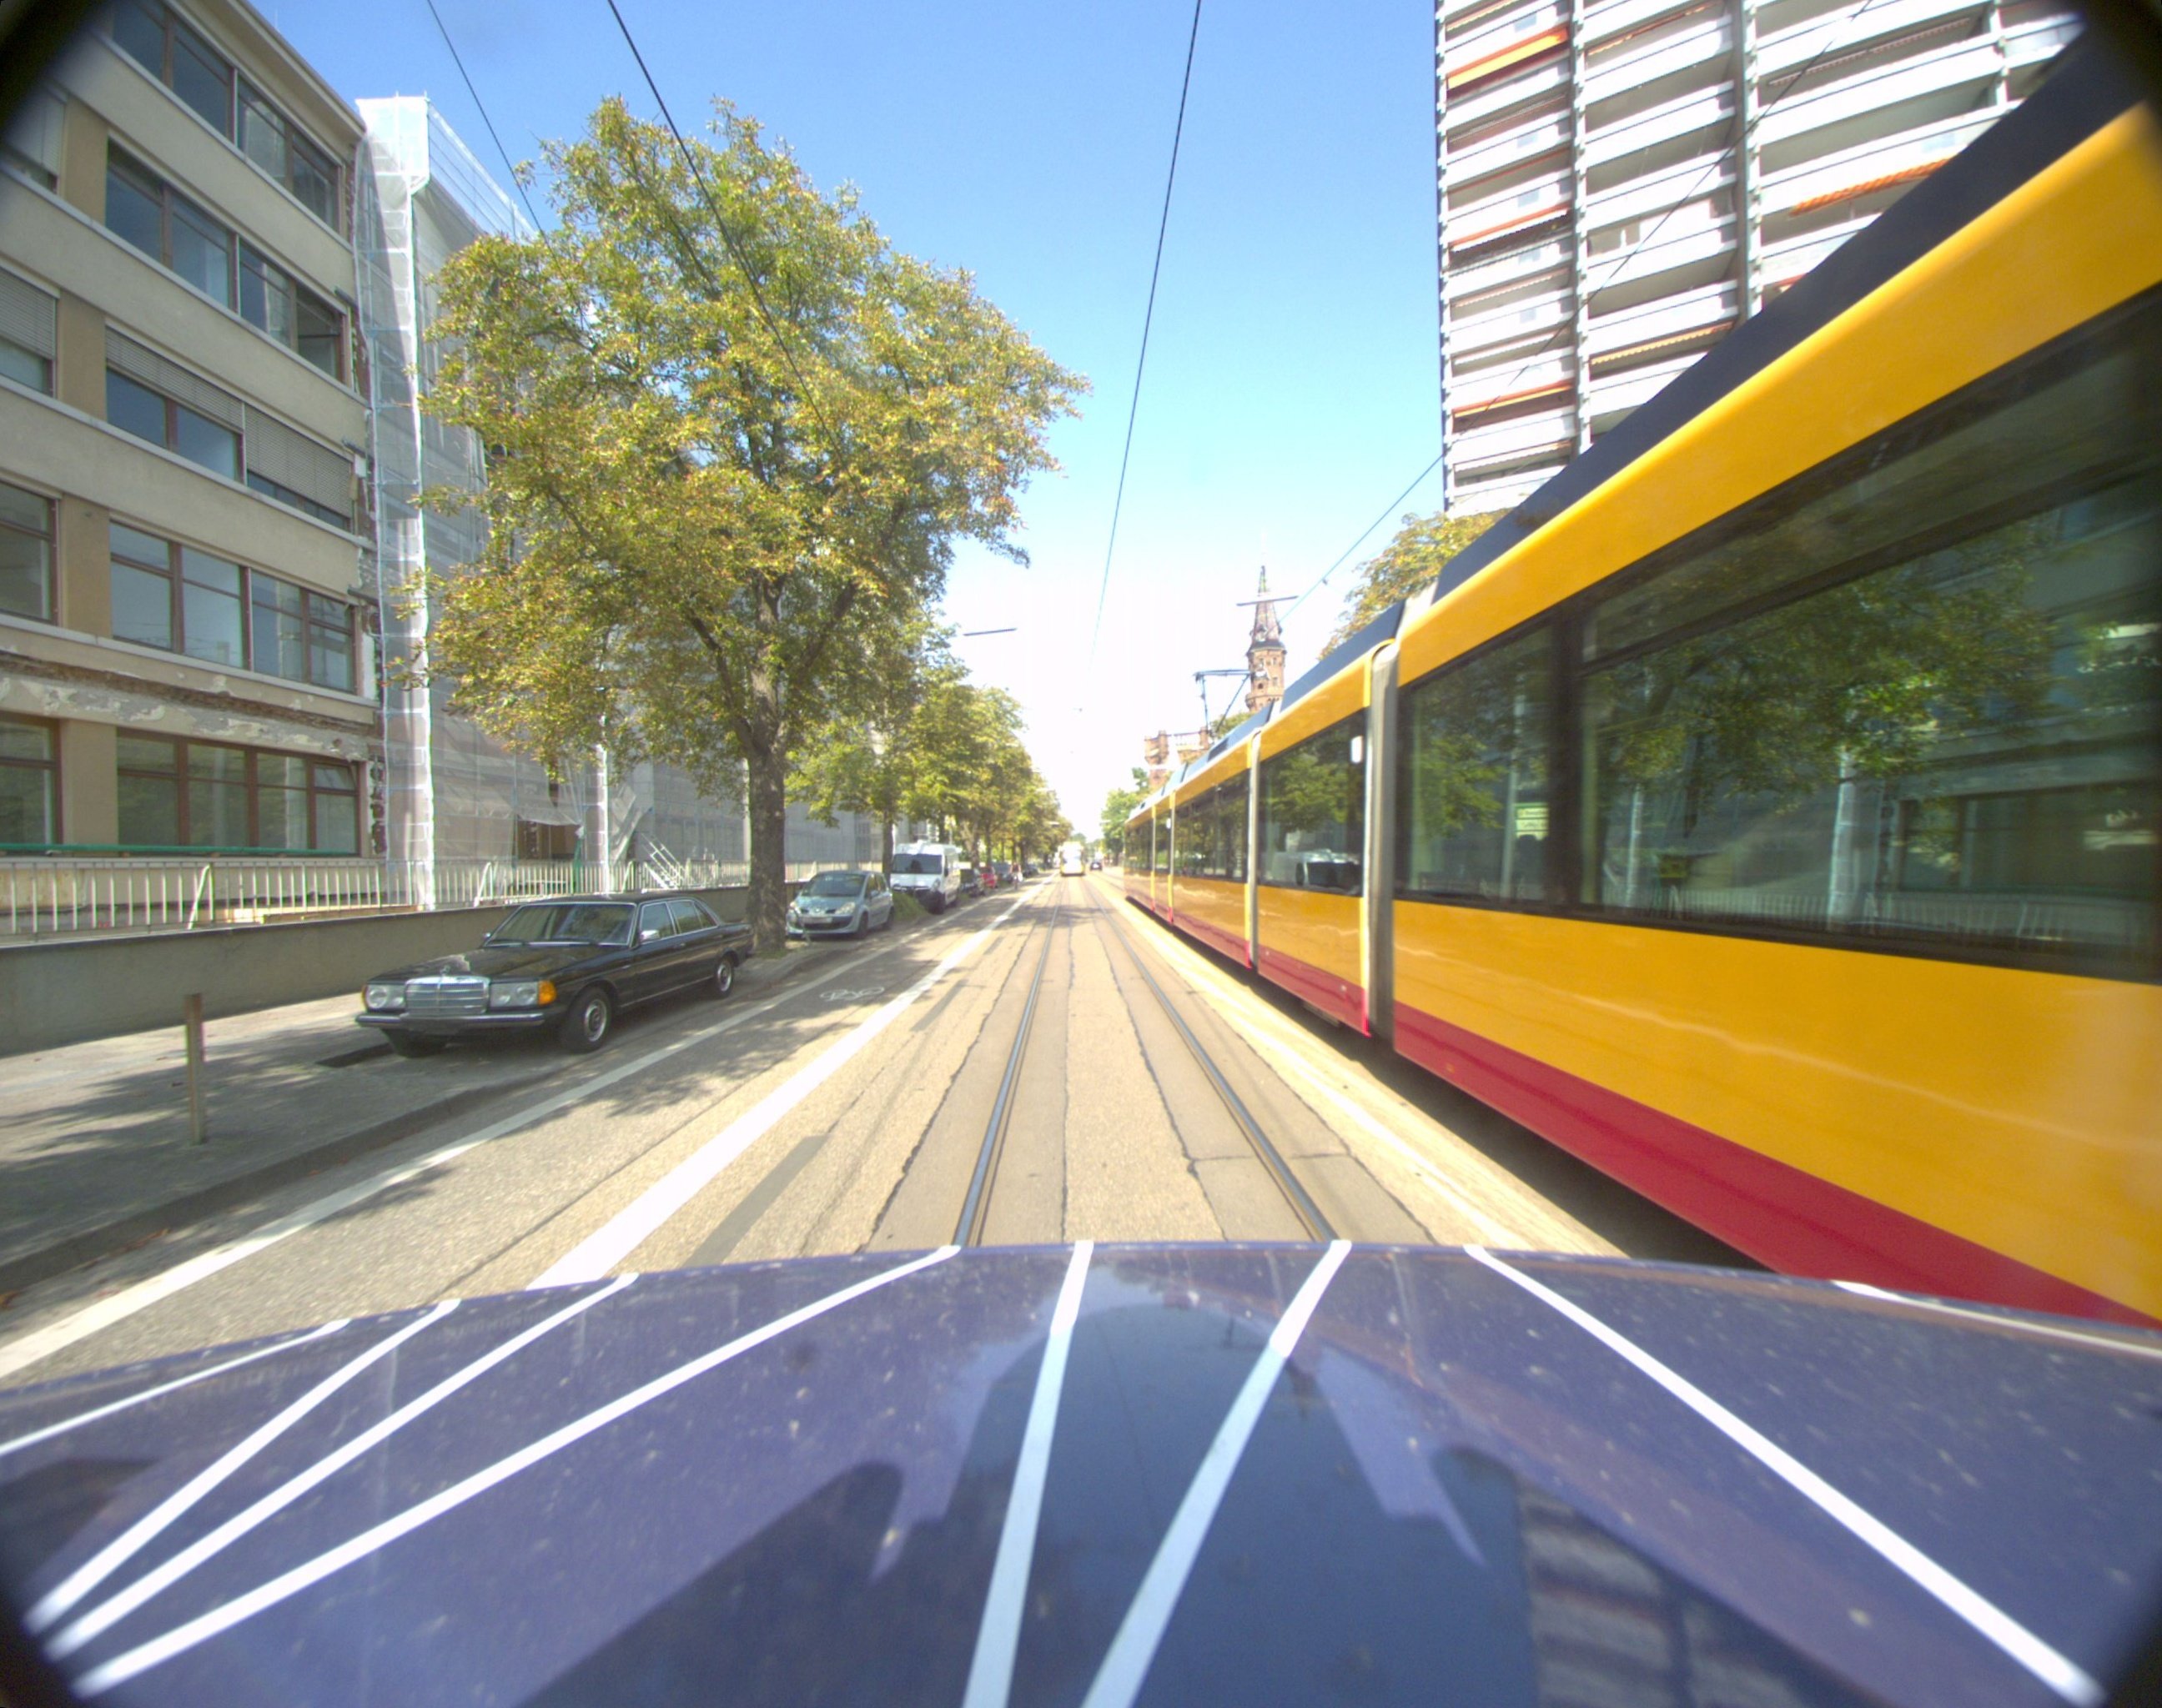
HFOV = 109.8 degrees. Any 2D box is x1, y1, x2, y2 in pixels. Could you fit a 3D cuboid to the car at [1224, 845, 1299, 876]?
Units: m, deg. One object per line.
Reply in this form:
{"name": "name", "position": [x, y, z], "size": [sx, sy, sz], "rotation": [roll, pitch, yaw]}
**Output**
{"name": "car", "position": [10.435, 0.365, 43.905], "size": [4.005, 1.470, 1.785], "rotation": [-4, 0, -30]}

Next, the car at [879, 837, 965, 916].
{"name": "car", "position": [-5.641, 0.763, 27.764], "size": [2.088, 2.537, 5.500], "rotation": [2, 0, -2]}

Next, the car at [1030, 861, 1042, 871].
{"name": "car", "position": [-6.631, 1.732, 112.480], "size": [1.644, 1.421, 3.988], "rotation": [-1, 0, -2]}

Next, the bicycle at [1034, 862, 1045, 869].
{"name": "bicycle", "position": [-6.880, 1.861, 124.876], "size": [1.773, 1.057, 0.796], "rotation": [0, 0, -3]}

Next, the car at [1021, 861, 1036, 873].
{"name": "car", "position": [-6.467, 1.555, 93.996], "size": [1.650, 1.420, 4.084], "rotation": [0, 0, -2]}

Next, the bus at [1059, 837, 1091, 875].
{"name": "bus", "position": [-0.519, 0.233, 80.668], "size": [2.901, 3.771, 9.319], "rotation": [-2, 0, 2]}

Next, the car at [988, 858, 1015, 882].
{"name": "car", "position": [-6.102, 1.209, 58.930], "size": [1.758, 1.681, 4.395], "rotation": [-2, -1, -2]}

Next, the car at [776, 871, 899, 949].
{"name": "car", "position": [-5.662, 1.239, 18.159], "size": [1.668, 1.607, 3.877], "rotation": [0, -1, 0]}

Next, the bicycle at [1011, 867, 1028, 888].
{"name": "bicycle", "position": [-3.734, 1.413, 46.129], "size": [0.789, 1.138, 2.305], "rotation": [-2, 0, 1]}

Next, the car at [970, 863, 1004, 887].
{"name": "car", "position": [-5.952, 1.308, 48.446], "size": [1.620, 1.405, 4.000], "rotation": [-1, 0, 0]}

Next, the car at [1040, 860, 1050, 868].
{"name": "car", "position": [-6.787, 1.809, 142.927], "size": [1.745, 1.477, 4.437], "rotation": [0, -1, -2]}

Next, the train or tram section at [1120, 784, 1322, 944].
{"name": "train or tram section", "position": [2.979, 0.187, 21.694], "size": [2.736, 2.877, 15.453], "rotation": [-1, 0, -1]}

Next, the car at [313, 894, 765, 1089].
{"name": "car", "position": [-5.430, 1.254, 8.600], "size": [1.758, 1.369, 4.718], "rotation": [0, 0, 0]}

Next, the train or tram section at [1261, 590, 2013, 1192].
{"name": "train or tram section", "position": [3.133, 0.176, 5.490], "size": [2.713, 2.840, 3.649], "rotation": [-1, 0, -1]}

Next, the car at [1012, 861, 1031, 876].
{"name": "car", "position": [-6.361, 1.527, 81.497], "size": [1.650, 1.502, 3.778], "rotation": [0, 0, 0]}

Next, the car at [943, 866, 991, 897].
{"name": "car", "position": [-5.625, 1.300, 37.949], "size": [1.620, 1.366, 4.827], "rotation": [-1, 0, 0]}

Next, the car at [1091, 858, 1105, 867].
{"name": "car", "position": [2.476, 1.272, 113.496], "size": [1.833, 1.368, 4.512], "rotation": [-1, 0, -1]}

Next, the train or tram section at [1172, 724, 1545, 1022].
{"name": "train or tram section", "position": [3.091, 0.183, 10.649], "size": [2.736, 2.833, 6.542], "rotation": [-1, 0, -1]}

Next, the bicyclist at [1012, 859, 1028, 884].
{"name": "bicyclist", "position": [-3.740, 1.052, 46.534], "size": [0.789, 1.461, 1.116], "rotation": [-2, 0, 1]}
